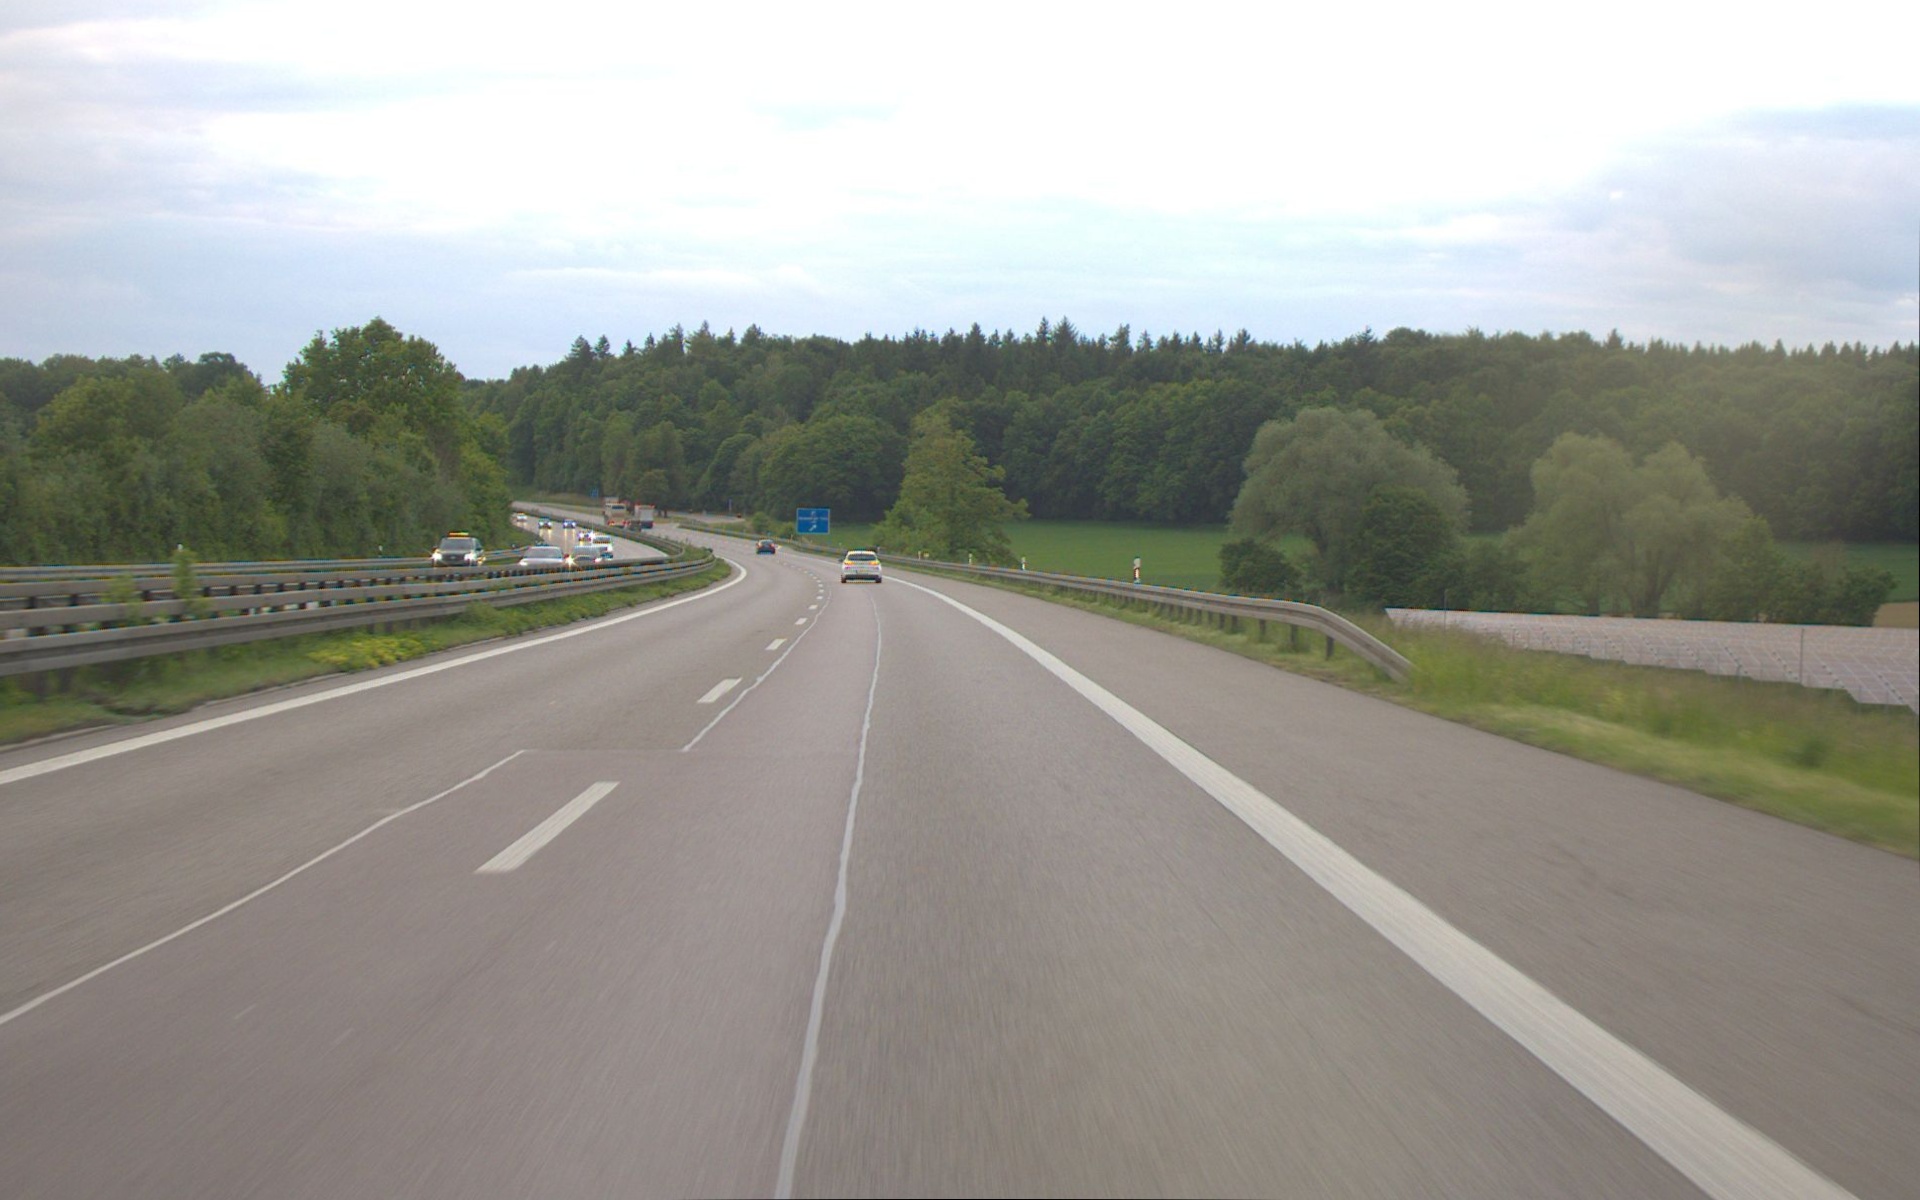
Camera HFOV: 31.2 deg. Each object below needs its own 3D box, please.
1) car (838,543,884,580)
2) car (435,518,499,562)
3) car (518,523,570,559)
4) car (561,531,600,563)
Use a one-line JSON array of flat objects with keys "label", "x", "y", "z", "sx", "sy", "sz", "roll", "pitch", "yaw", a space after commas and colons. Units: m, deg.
[{"label": "car", "x": -4.515, "y": -1.764, "z": 155.807, "sx": 1.951, "sy": 1.526, "sz": 4.081, "roll": 3, "pitch": 1, "yaw": -3}, {"label": "car", "x": -20.827, "y": -2.525, "z": 145.397, "sx": 1.886, "sy": 1.688, "sz": 5.769, "roll": 3, "pitch": 1, "yaw": -1}, {"label": "car", "x": -16.950, "y": -2.409, "z": 140.171, "sx": 1.566, "sy": 1.360, "sz": 4.620, "roll": 3, "pitch": 1, "yaw": -1}, {"label": "car", "x": -18.662, "y": -2.634, "z": 169.339, "sx": 1.660, "sy": 1.435, "sz": 4.131, "roll": 3, "pitch": 1, "yaw": -4}]
